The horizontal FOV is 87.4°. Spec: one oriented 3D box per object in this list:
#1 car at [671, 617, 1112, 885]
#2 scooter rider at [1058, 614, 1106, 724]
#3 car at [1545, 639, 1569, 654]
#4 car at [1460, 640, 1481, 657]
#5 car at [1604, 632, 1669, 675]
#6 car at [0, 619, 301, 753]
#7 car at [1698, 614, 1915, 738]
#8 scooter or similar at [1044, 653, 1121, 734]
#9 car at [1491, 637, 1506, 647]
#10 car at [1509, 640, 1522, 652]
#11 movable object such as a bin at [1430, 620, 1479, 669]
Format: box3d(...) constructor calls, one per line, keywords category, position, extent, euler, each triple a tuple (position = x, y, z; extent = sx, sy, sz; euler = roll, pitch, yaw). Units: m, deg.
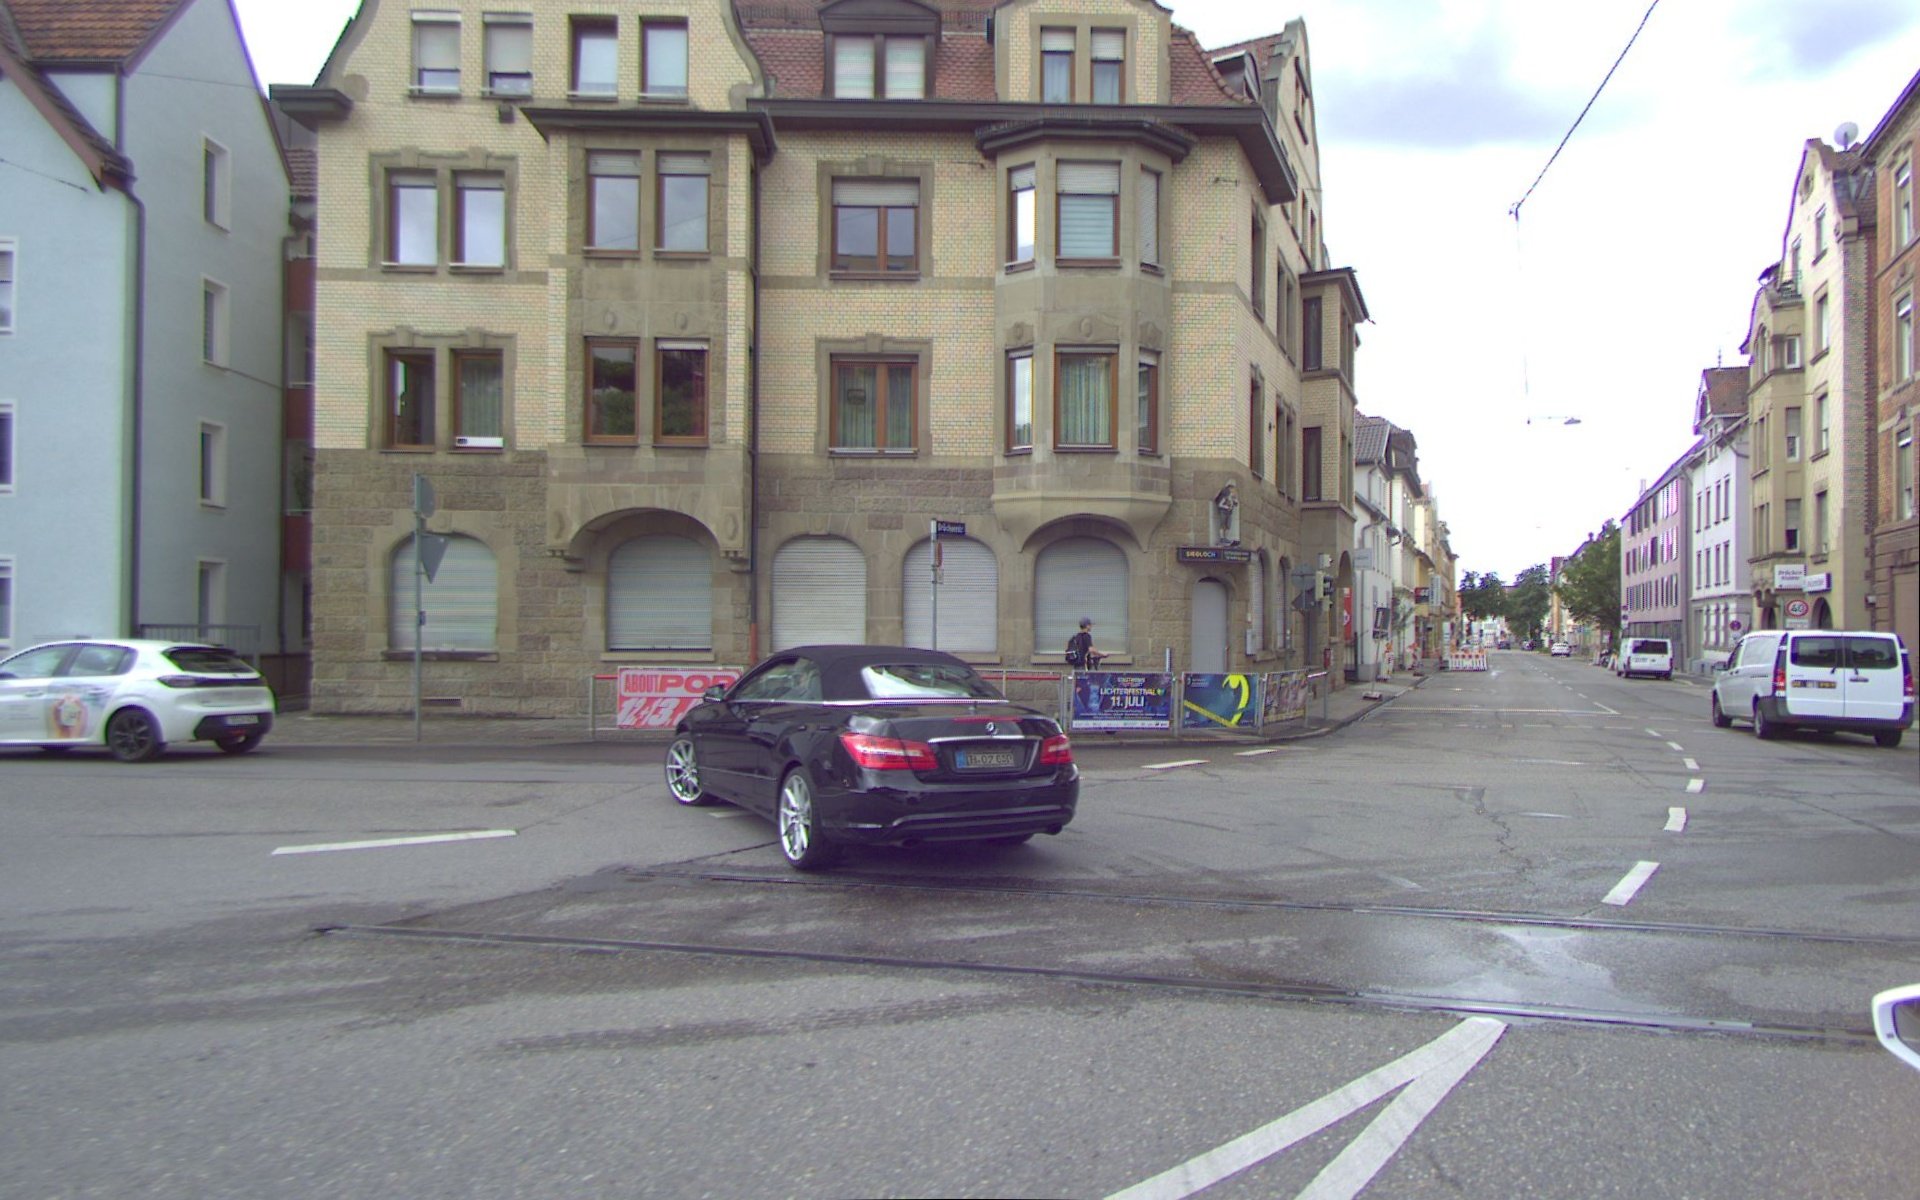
box3d(category="car", position=(-0.850, 0.952, 7.744), extent=(1.746, 1.427, 4.367), euler=(3, -4, -28))
box3d(category="scooter rider", position=(1.964, 1.096, 16.174), extent=(0.569, 1.728, 0.486), euler=(2, -1, -22))
box3d(category="car", position=(67.990, 5.292, 114.388), extent=(1.963, 1.505, 3.996), euler=(4, 0, 27))
box3d(category="car", position=(60.315, 5.718, 118.665), extent=(1.963, 1.764, 3.996), euler=(4, 0, 26))
box3d(category="car", position=(34.979, 2.712, 52.064), extent=(2.096, 2.031, 4.921), euler=(2, -1, 27))
box3d(category="car", position=(-10.686, 1.033, 12.510), extent=(3.839, 1.485, 1.688), euler=(1, -4, 5))
box3d(category="car", position=(15.173, 1.361, 18.333), extent=(1.862, 1.953, 4.643), euler=(0, -4, 25))
box3d(category="scooter or similar", position=(1.978, 1.493, 16.191), extent=(1.209, 1.258, 0.377), euler=(2, -2, -23))
box3d(category="car", position=(95.851, 7.427, 178.766), extent=(1.966, 1.639, 3.991), euler=(-1, -3, 32))
box3d(category="car", position=(98.791, 8.154, 178.670), extent=(1.964, 2.040, 3.994), euler=(-1, -3, 29))
box3d(category="movable object such as a bin", position=(29.974, 2.702, 60.877), extent=(2.499, 2.862, 4.534), euler=(-2, -3, 27))
